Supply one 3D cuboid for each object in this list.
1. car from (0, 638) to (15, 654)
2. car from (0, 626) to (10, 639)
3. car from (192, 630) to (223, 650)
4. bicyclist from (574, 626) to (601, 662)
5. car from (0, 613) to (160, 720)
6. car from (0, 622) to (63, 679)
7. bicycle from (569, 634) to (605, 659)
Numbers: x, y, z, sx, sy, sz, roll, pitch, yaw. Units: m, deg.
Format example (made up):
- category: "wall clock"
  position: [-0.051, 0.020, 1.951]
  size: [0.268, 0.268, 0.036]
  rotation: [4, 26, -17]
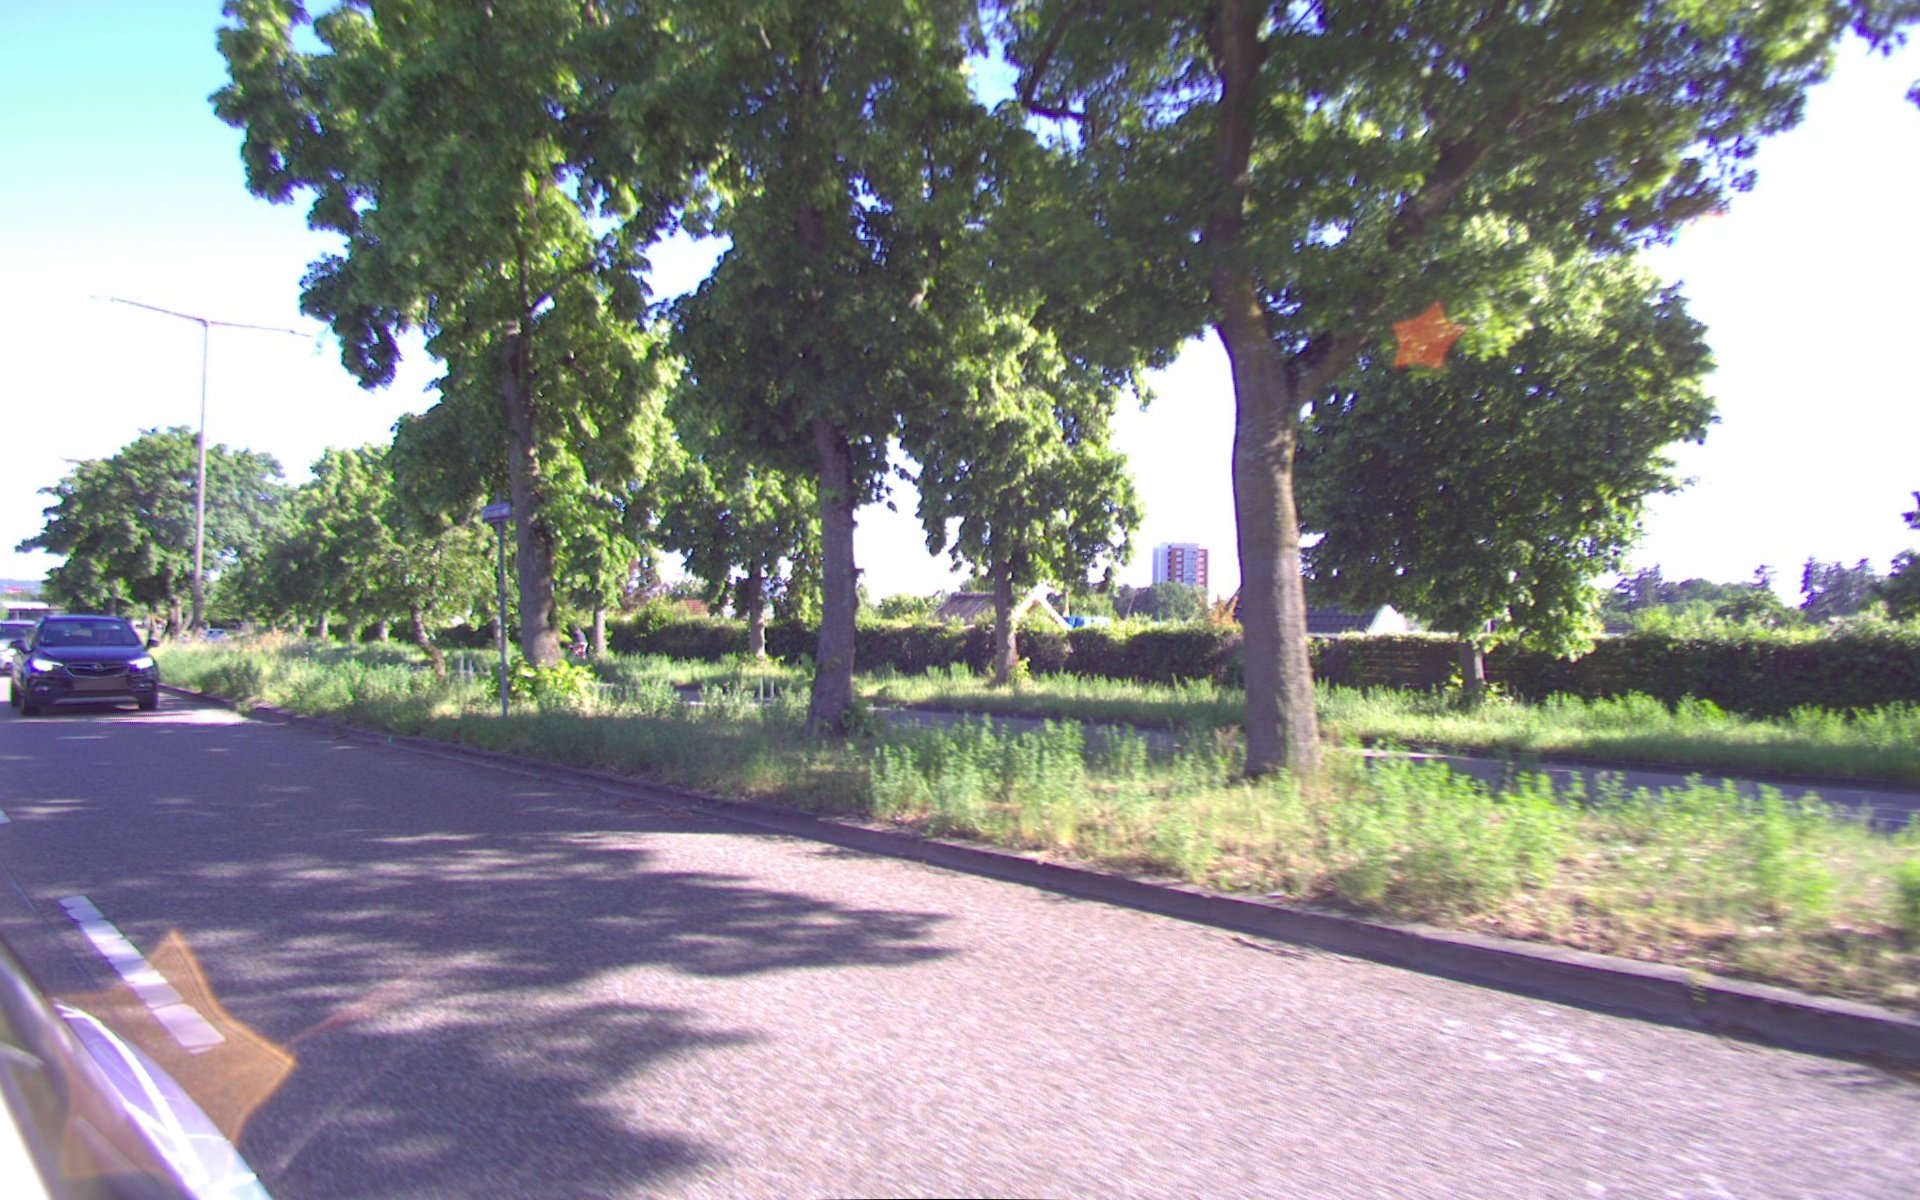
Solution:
- category: "car"
  position: [-109.924, 5.280, 116.058]
  size: [3.999, 1.697, 1.972]
  rotation: [-1, -3, 42]
- category: "car"
  position: [-164.279, 5.586, 173.367]
  size: [3.999, 2.097, 1.972]
  rotation: [-1, -1, 42]
- category: "car"
  position: [-68.732, 3.649, 92.419]
  size: [1.914, 1.669, 4.005]
  rotation: [0, -1, -42]
- category: "bicyclist"
  position: [-15.193, 1.788, 41.264]
  size: [1.001, 1.432, 0.681]
  rotation: [-2, -3, 44]
- category: "car"
  position: [-15.591, 1.066, 17.812]
  size: [4.516, 1.627, 1.786]
  rotation: [0, -2, 45]
- category: "car"
  position: [-27.862, 1.452, 29.980]
  size: [1.797, 1.574, 4.651]
  rotation: [2, -2, -43]
- category: "bicycle"
  position: [-15.226, 1.876, 41.288]
  size: [1.842, 1.004, 0.681]
  rotation: [-2, -3, 45]
